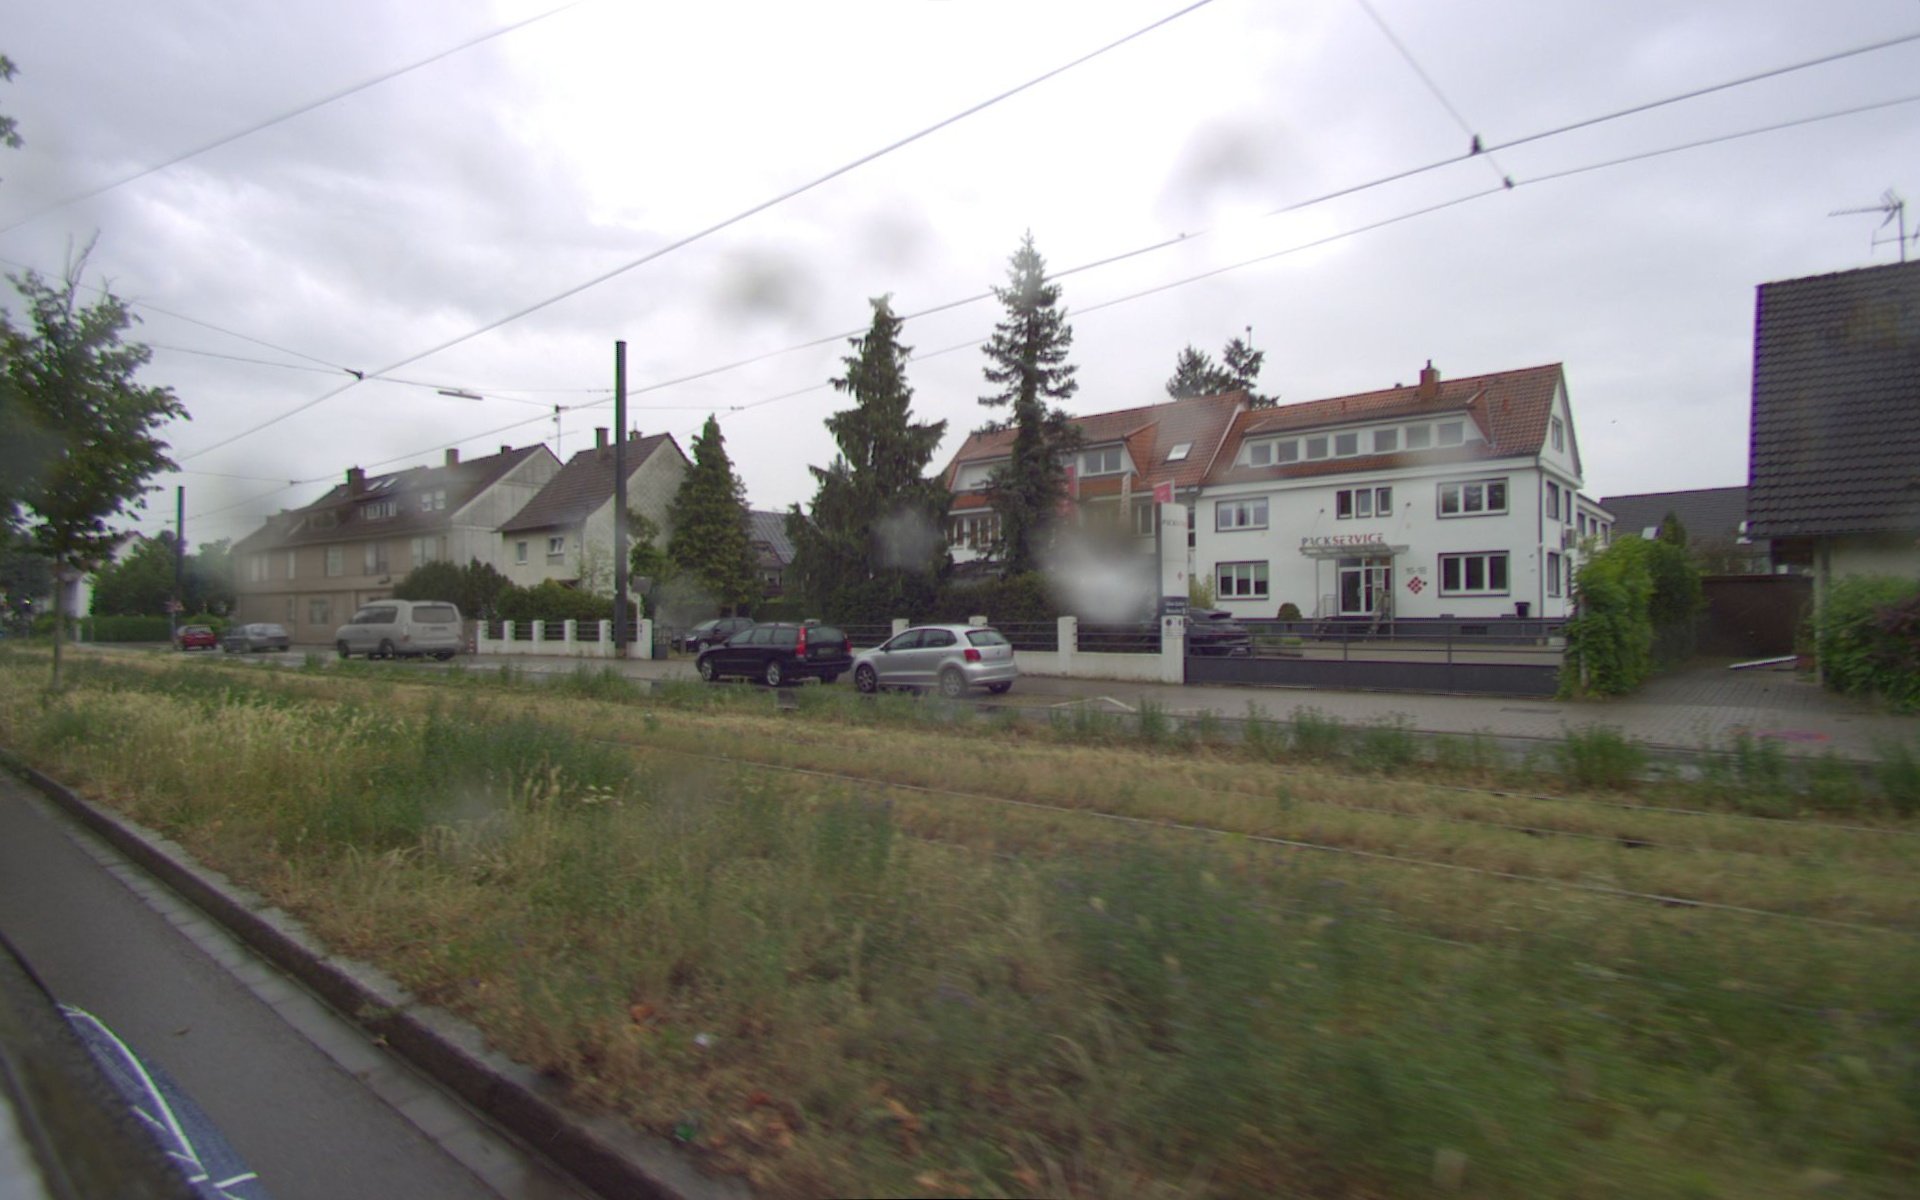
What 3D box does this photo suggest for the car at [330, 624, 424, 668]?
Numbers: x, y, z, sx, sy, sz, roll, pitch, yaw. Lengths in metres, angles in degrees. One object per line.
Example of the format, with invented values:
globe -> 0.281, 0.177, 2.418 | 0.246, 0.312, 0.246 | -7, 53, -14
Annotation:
car -> -24.440, 1.886, 42.351 | 4.382, 1.687, 1.974 | -1, -1, 39

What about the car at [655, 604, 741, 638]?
car -> -13.200, 1.032, 51.061 | 1.703, 1.551, 3.919 | -2, 0, 40

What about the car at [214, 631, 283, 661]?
car -> -37.416, 2.381, 53.195 | 4.761, 1.421, 1.972 | -2, 0, 42

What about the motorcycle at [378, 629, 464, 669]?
motorcycle -> -20.700, 1.864, 38.935 | 2.645, 1.421, 1.269 | -1, 0, -7

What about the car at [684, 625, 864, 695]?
car -> -4.617, 1.413, 24.717 | 4.530, 1.466, 1.972 | -2, 0, 42

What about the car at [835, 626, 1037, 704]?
car -> -0.564, 1.321, 21.399 | 3.968, 1.421, 1.973 | -2, 0, 41

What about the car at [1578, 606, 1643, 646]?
car -> 27.124, 1.061, 42.165 | 1.958, 1.564, 3.949 | -1, -1, 37

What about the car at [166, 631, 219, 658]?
car -> -45.915, 2.665, 60.514 | 3.999, 1.468, 1.778 | -2, 0, 42

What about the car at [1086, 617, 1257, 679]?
car -> 5.362, 1.207, 25.918 | 3.968, 1.421, 1.681 | -2, 0, 41
